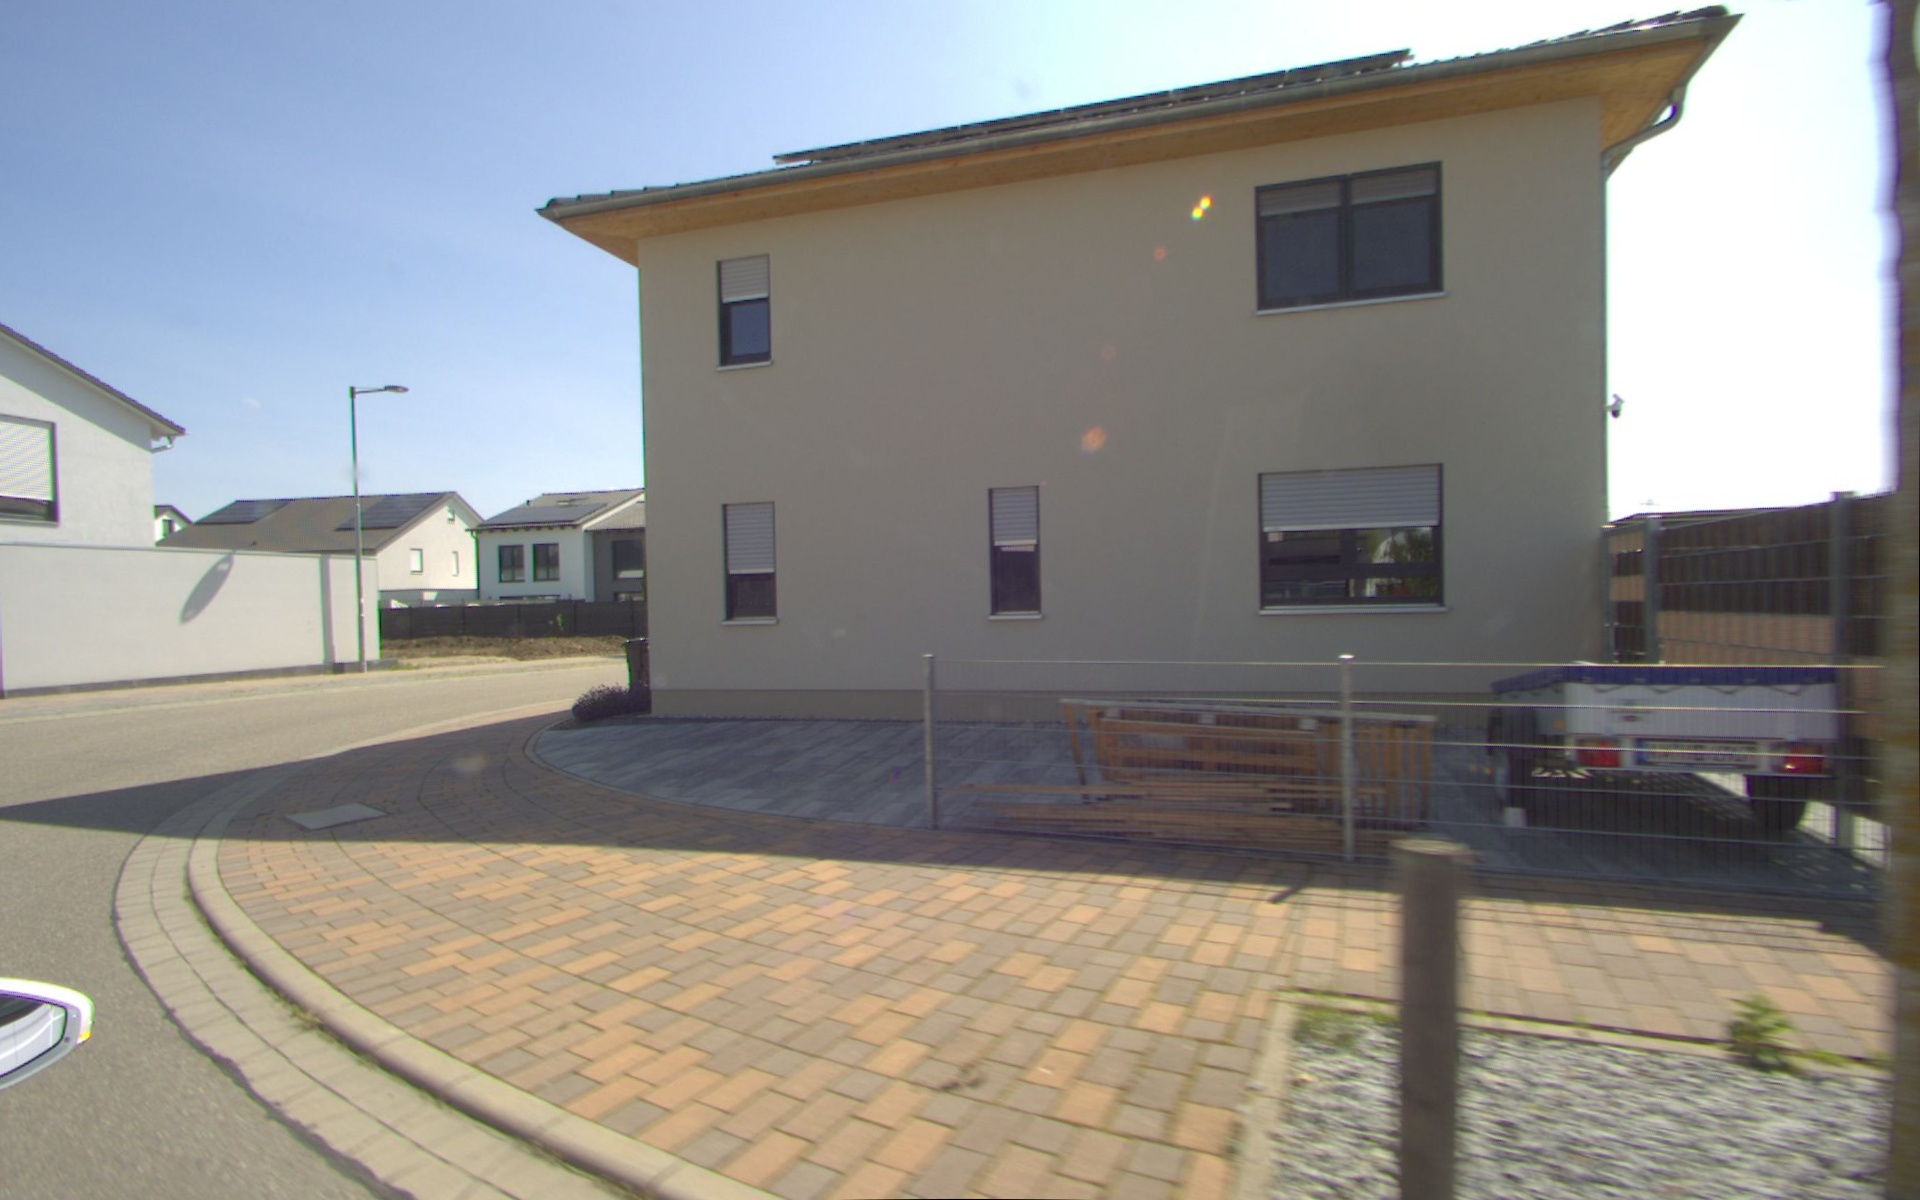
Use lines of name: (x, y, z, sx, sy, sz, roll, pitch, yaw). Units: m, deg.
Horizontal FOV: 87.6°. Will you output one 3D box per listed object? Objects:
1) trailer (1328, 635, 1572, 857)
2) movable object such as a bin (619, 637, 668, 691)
trailer: (2.959, 0.793, 6.355, 1.136, 0.973, 2.238, -1, 2, 20)
movable object such as a bin: (-5.763, 1.151, 18.224, 0.542, 0.943, 0.646, -2, 0, 24)
